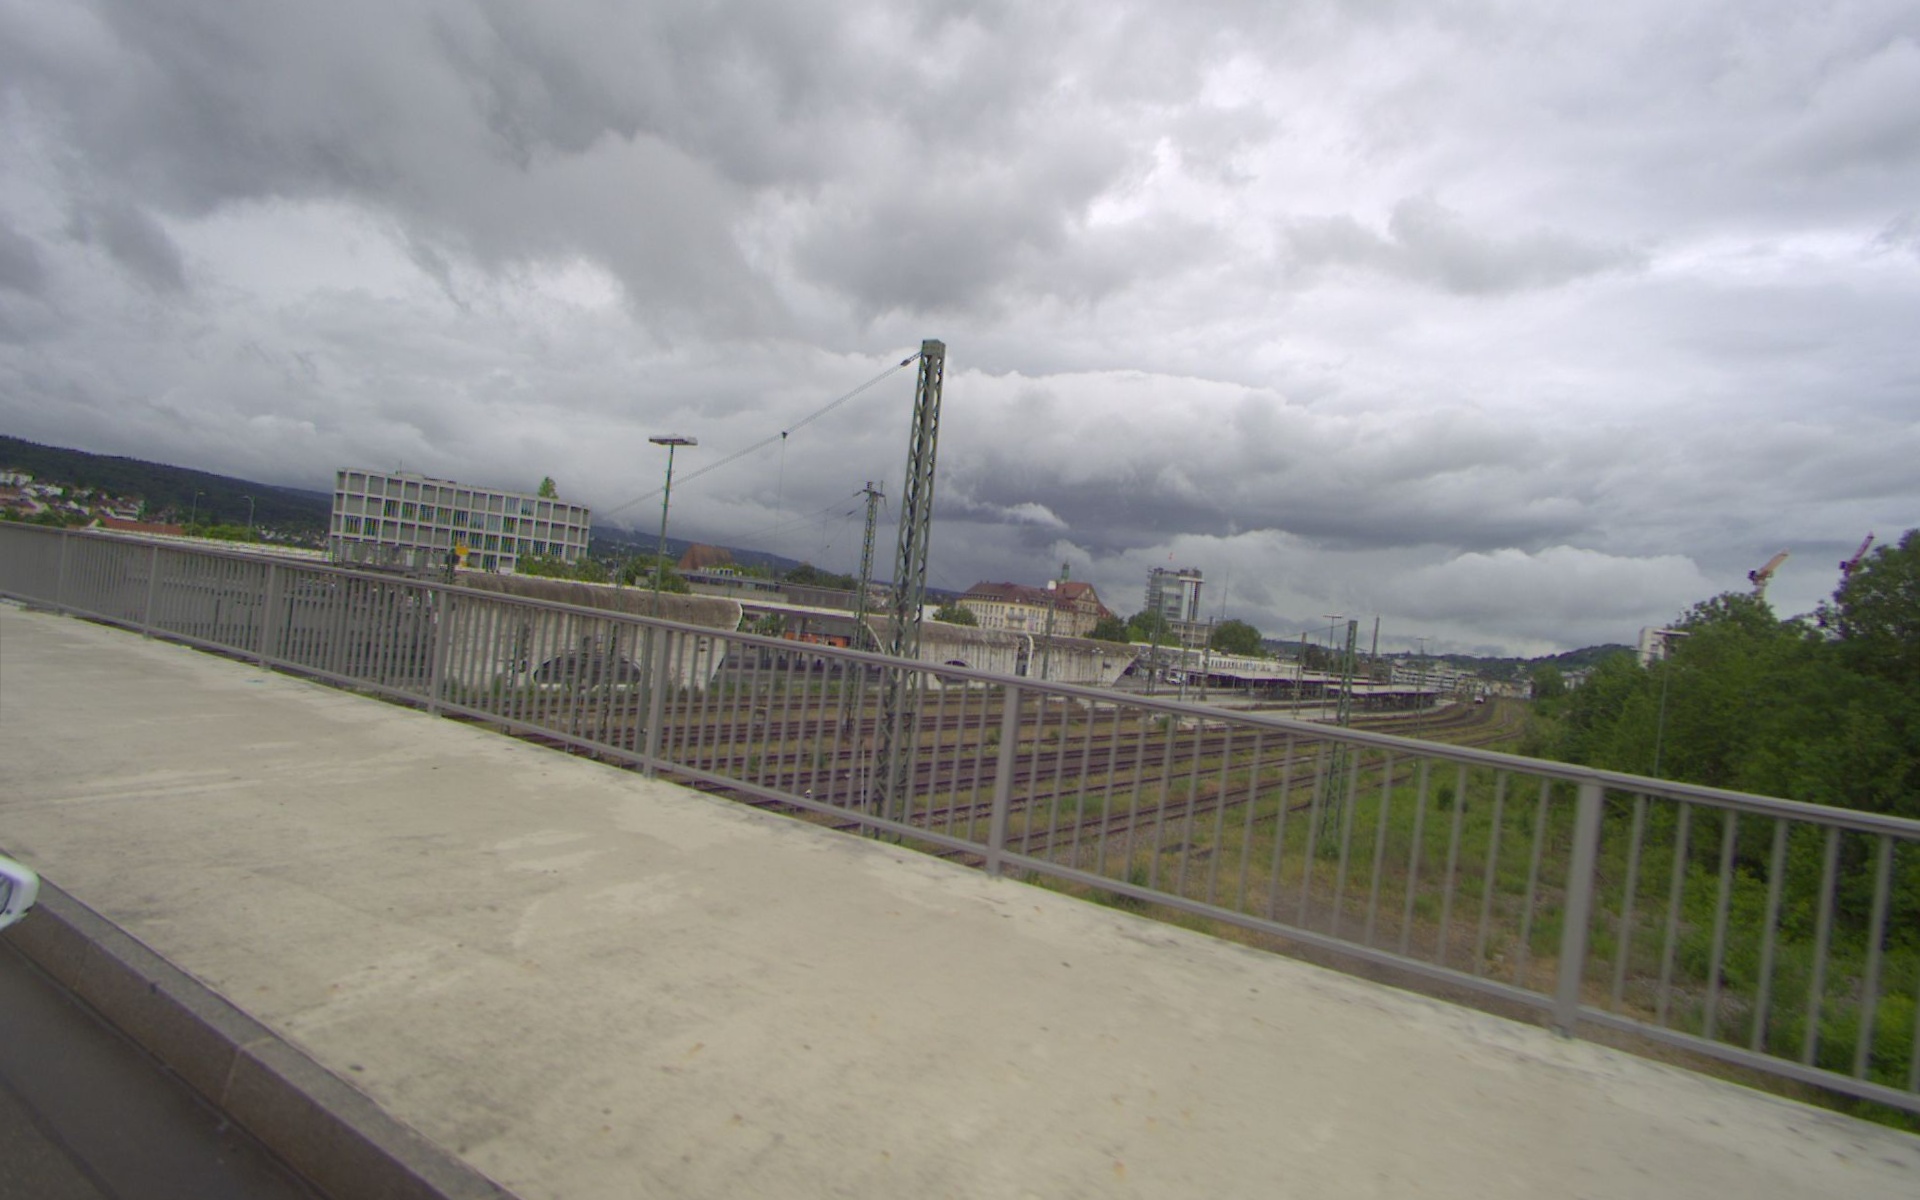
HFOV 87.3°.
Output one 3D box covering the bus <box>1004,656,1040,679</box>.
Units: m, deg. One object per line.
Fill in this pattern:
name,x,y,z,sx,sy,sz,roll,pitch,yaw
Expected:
bus,10.189,11.097,164.807,2.567,3.247,6.980,6,-2,33
